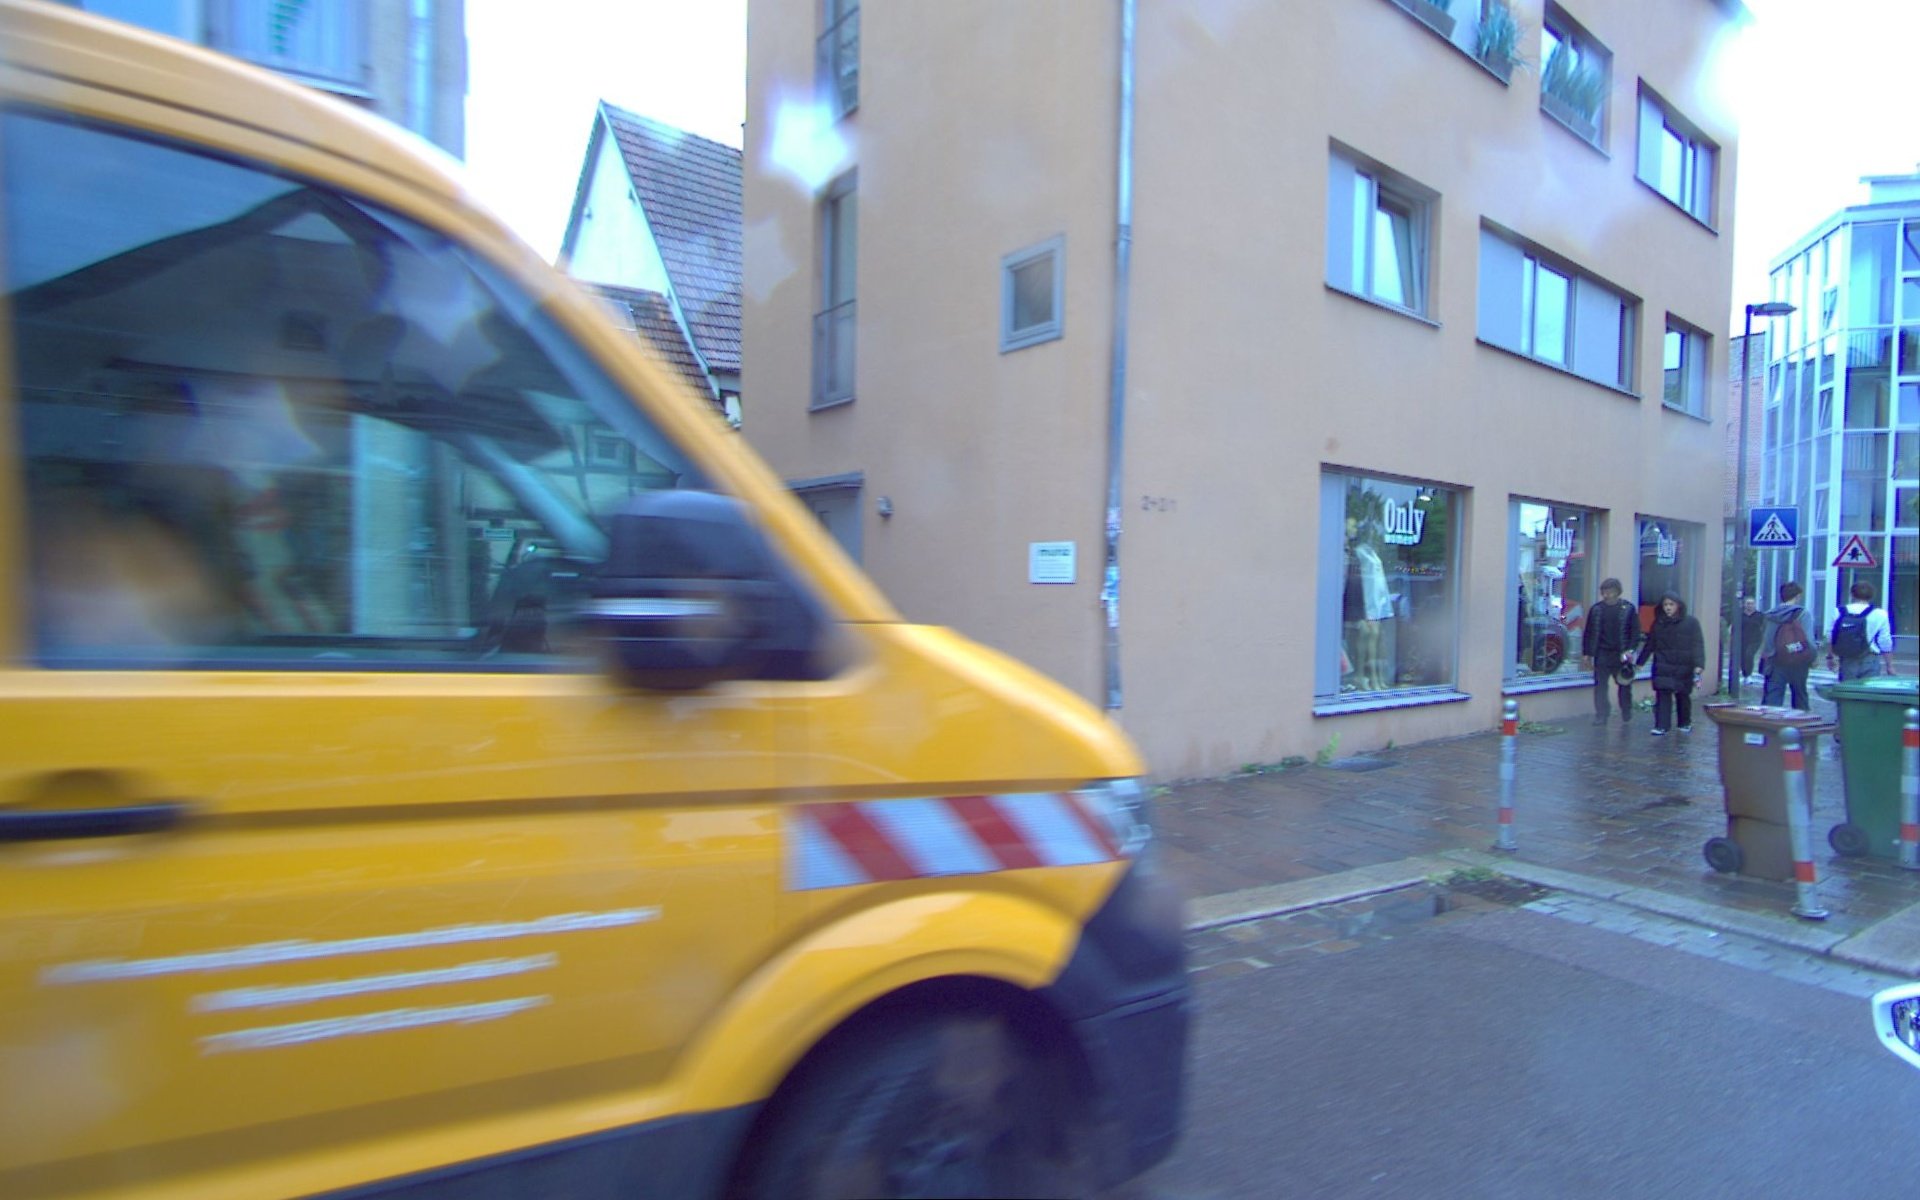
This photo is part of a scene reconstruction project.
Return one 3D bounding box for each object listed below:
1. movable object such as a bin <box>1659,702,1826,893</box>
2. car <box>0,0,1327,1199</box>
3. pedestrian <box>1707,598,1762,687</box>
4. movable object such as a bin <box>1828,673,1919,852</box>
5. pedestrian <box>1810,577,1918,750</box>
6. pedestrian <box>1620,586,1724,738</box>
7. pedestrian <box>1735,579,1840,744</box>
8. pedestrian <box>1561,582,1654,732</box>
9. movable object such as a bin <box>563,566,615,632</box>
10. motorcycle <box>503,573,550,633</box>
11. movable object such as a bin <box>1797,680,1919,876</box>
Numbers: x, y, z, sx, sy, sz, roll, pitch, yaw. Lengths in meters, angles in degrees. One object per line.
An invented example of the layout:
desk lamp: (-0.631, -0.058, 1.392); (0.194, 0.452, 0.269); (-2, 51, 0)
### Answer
movable object such as a bin: (4.446, 1.093, 5.723); (0.475, 0.939, 0.579); (1, 1, -27)
car: (-2.216, 0.295, 1.695); (5.788, 2.269, 1.985); (1, 0, -28)
pedestrian: (14.608, 0.779, 18.948); (0.678, 1.631, 0.654); (0, 1, -38)
movable object such as a bin: (6.104, 1.030, 6.477); (0.604, 1.050, 0.651); (0, 0, -37)
pedestrian: (10.089, 0.677, 11.203); (1.050, 1.831, 0.659); (1, 1, -35)
pedestrian: (8.256, 0.693, 11.659); (0.738, 1.662, 0.710); (1, 2, -35)
pedestrian: (9.600, 0.678, 11.649); (1.048, 1.824, 0.687); (1, 1, -37)
pedestrian: (7.831, 0.665, 12.154); (0.801, 1.735, 0.618); (1, 2, -35)
movable object such as a bin: (-6.496, -0.019, 17.574); (0.669, 1.093, 0.909); (1, 3, -32)
motorcycle: (-7.380, 0.035, 17.073); (0.514, 0.943, 1.436); (1, 3, -32)
movable object such as a bin: (5.566, 1.043, 6.064); (0.604, 1.050, 0.651); (1, 1, -37)
